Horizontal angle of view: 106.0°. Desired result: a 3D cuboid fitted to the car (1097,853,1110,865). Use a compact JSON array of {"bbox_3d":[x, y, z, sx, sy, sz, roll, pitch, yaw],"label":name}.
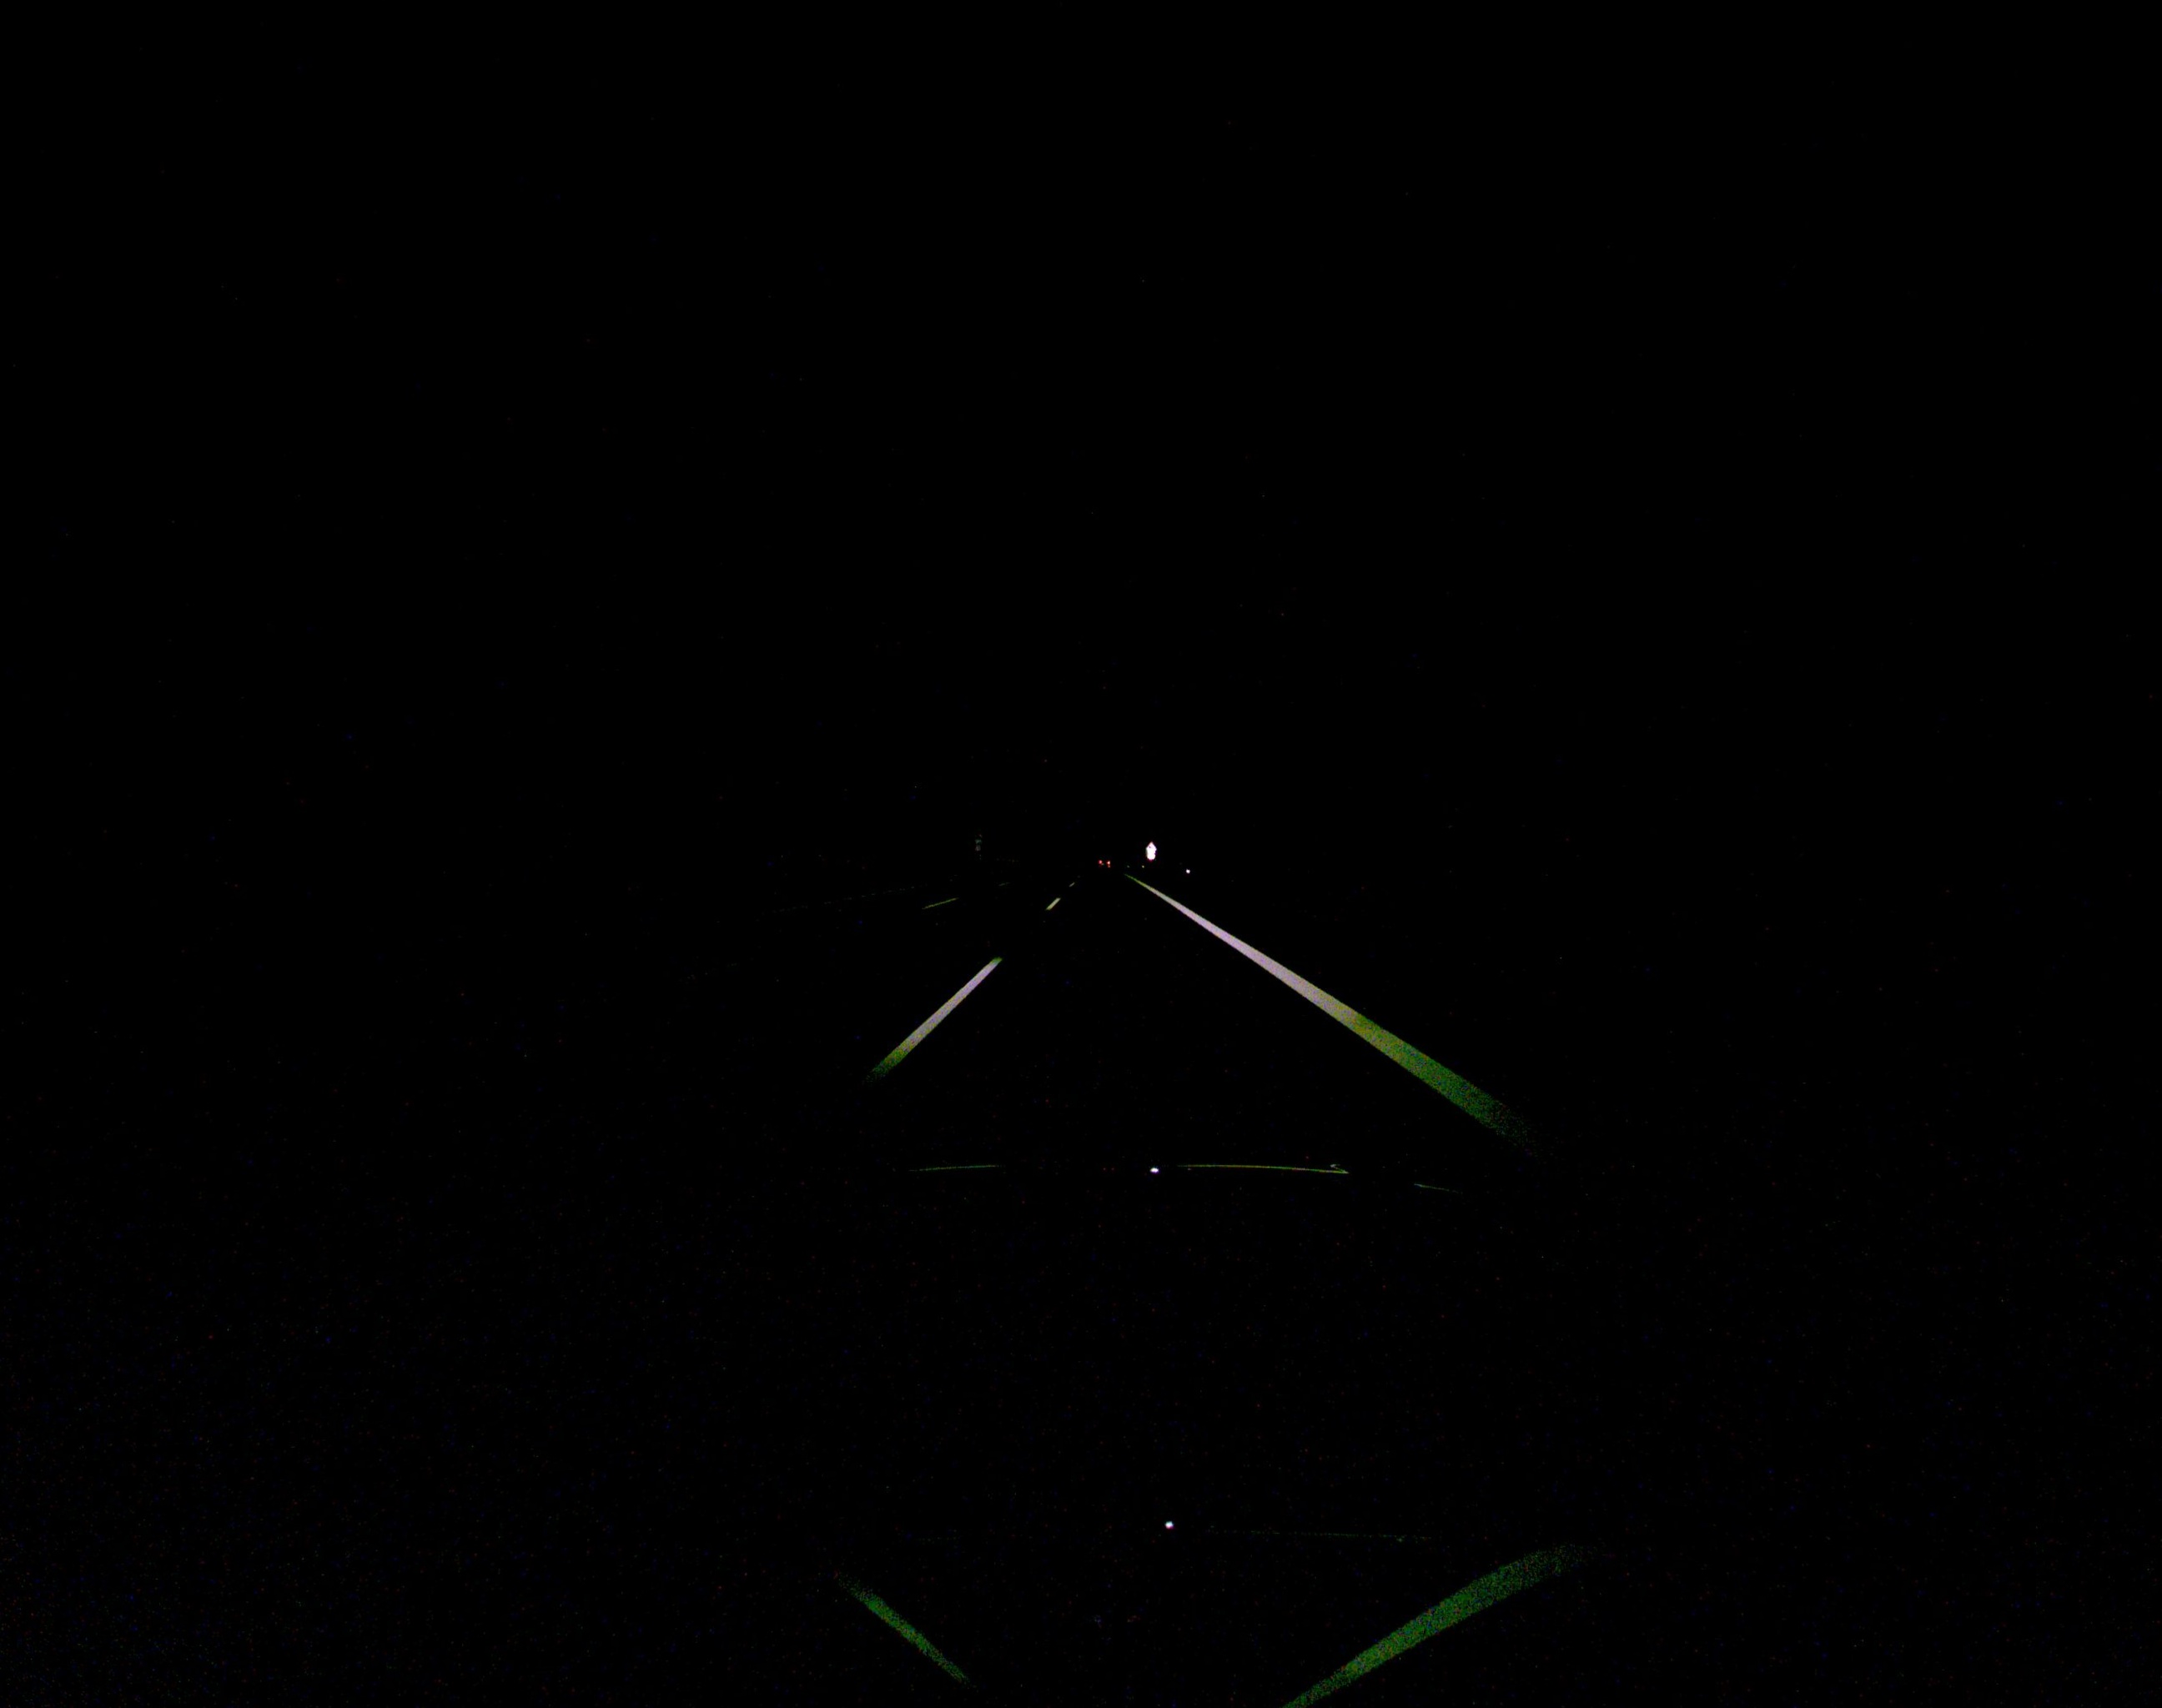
[{"bbox_3d":[4.930,1.174,178.796,2.517,2.553,6.056,1,0,3],"label":"car"}]
